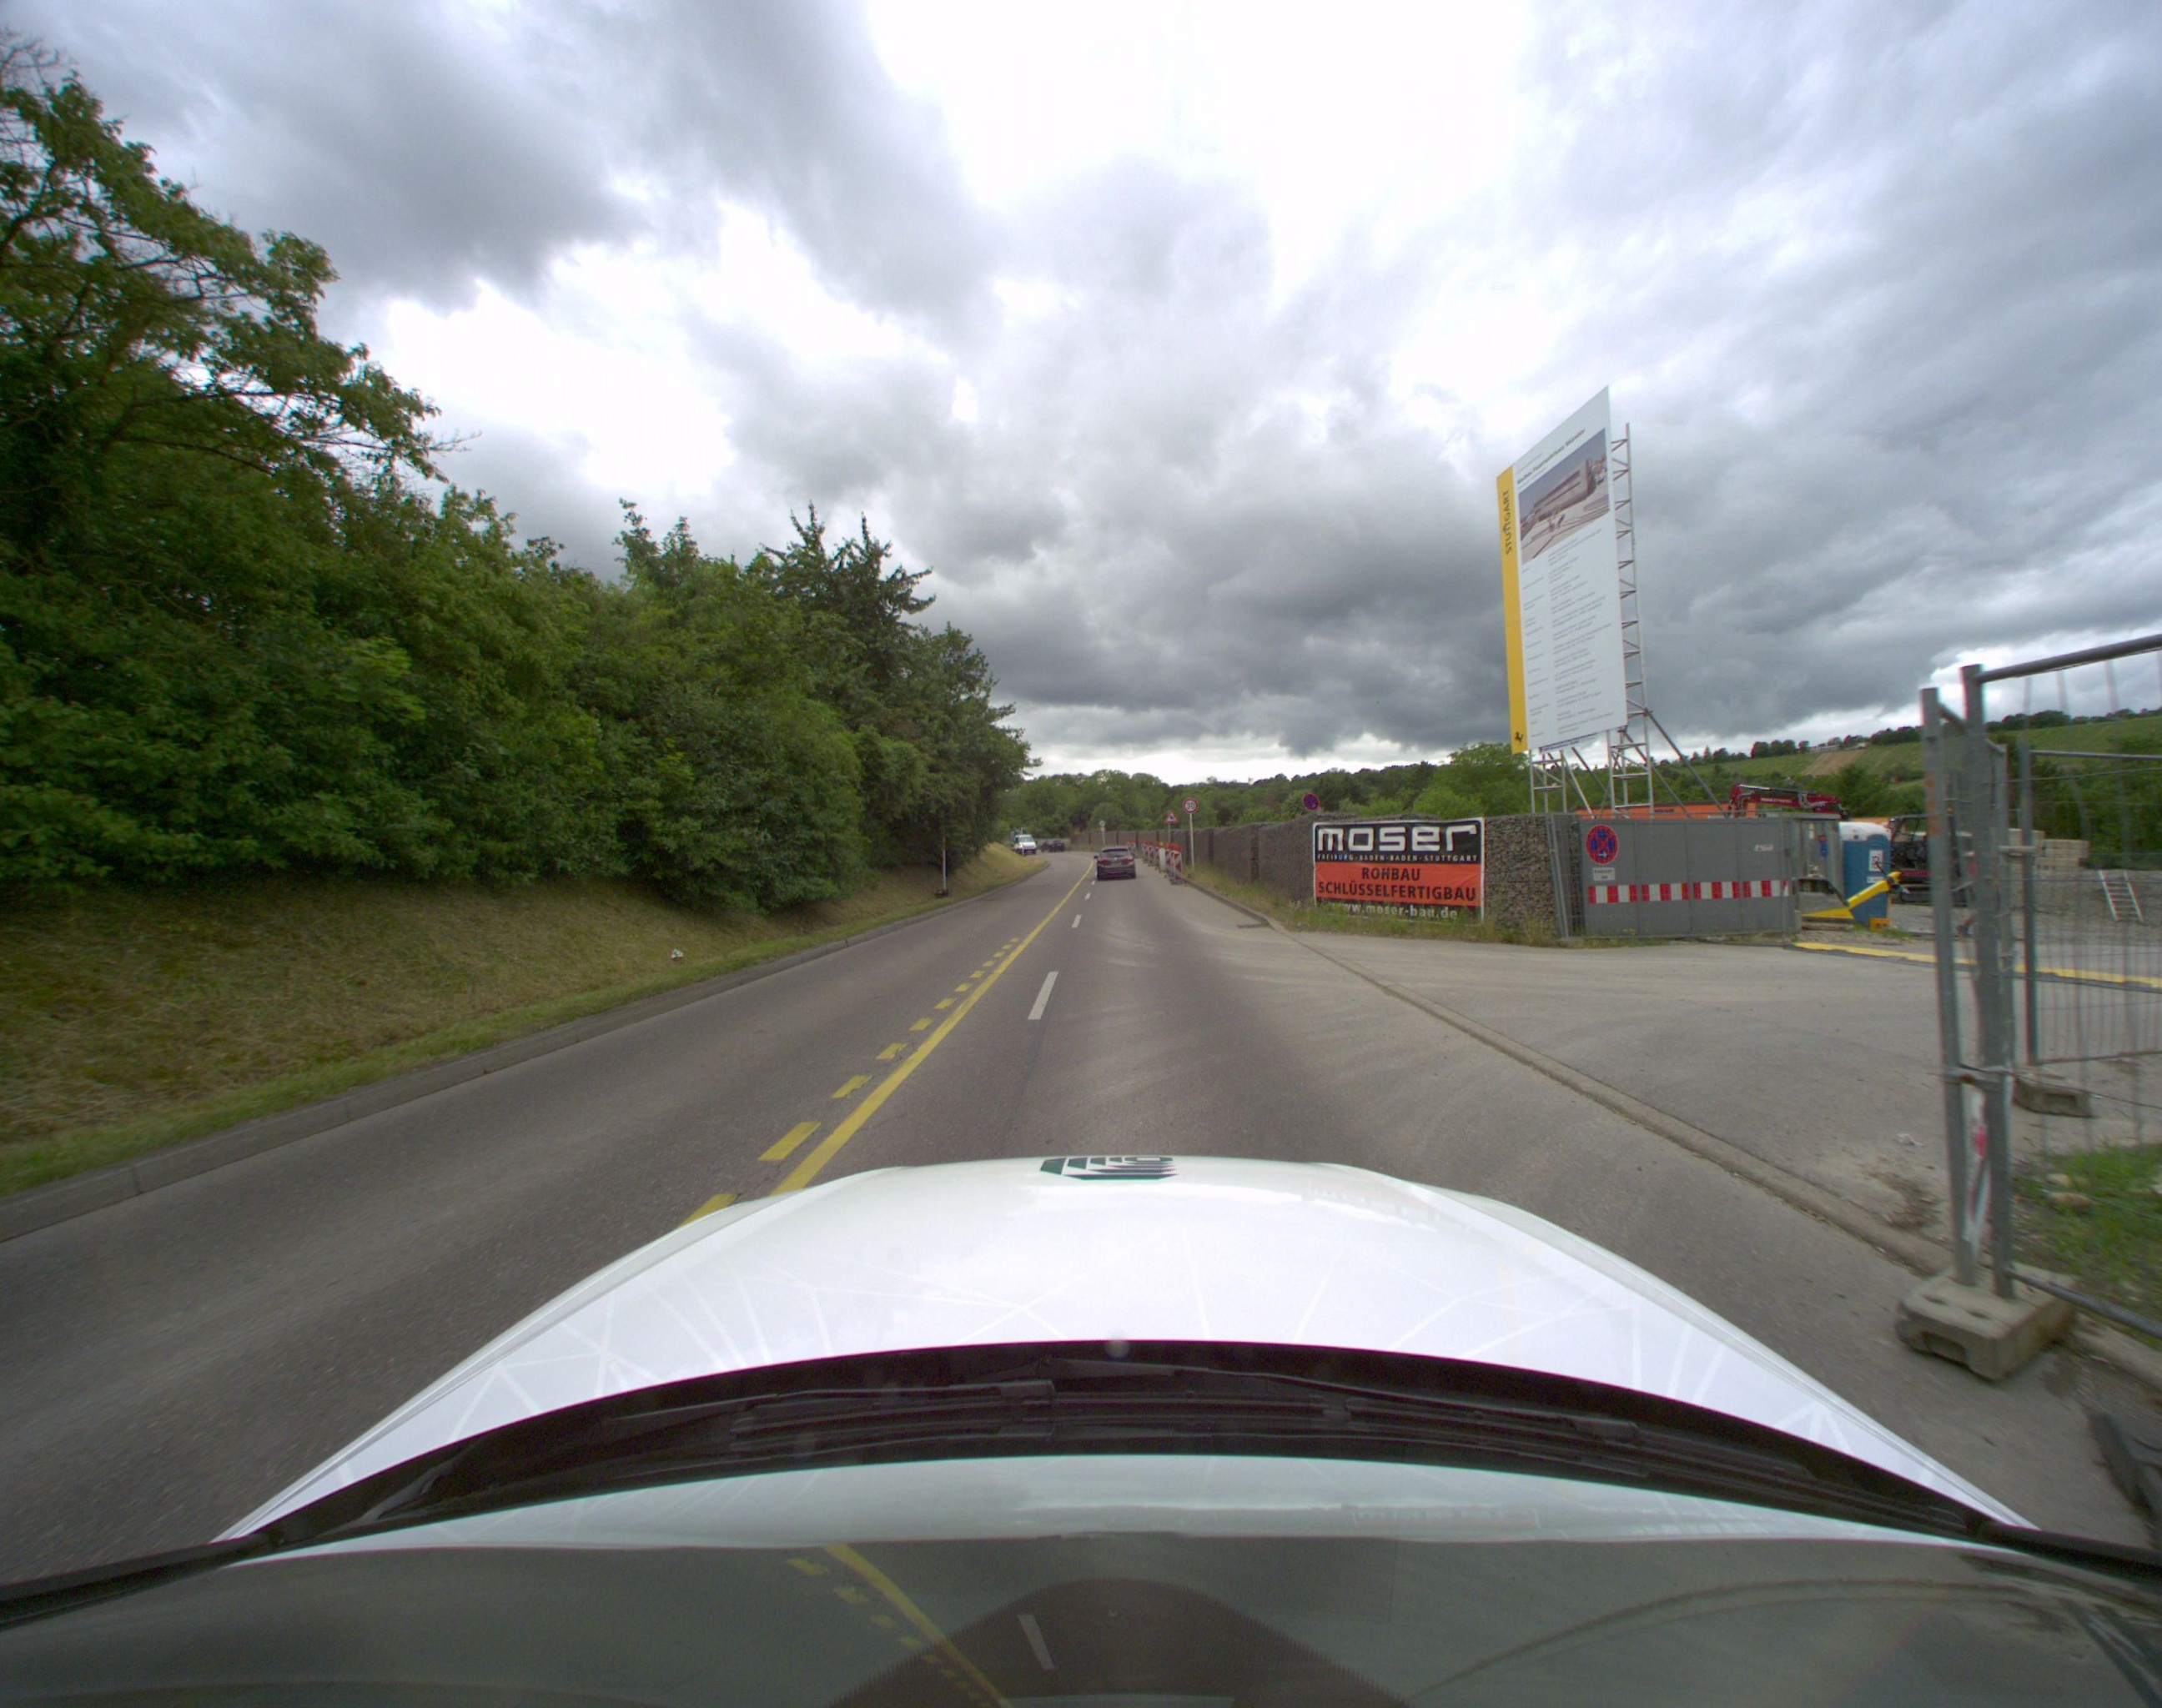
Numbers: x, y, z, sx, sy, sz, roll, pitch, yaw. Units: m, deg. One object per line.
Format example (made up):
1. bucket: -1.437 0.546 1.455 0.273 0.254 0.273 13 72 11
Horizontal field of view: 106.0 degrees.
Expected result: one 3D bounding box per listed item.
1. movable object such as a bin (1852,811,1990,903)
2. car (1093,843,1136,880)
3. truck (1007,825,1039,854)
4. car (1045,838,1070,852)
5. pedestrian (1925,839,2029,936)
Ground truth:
1. movable object such as a bin: 25.179 0.120 24.557 2.708 2.585 2.012 -1 -2 42
2. car: 1.618 0.322 38.308 1.832 1.483 4.004 -4 1 3
3. truck: -6.583 -1.638 92.090 2.218 3.014 7.703 -3 1 -14
4. car: -2.784 -1.049 94.208 1.785 1.453 3.832 0 -1 -20
5. pedestrian: 18.289 0.667 16.652 0.824 1.901 1.152 0 -1 -9
